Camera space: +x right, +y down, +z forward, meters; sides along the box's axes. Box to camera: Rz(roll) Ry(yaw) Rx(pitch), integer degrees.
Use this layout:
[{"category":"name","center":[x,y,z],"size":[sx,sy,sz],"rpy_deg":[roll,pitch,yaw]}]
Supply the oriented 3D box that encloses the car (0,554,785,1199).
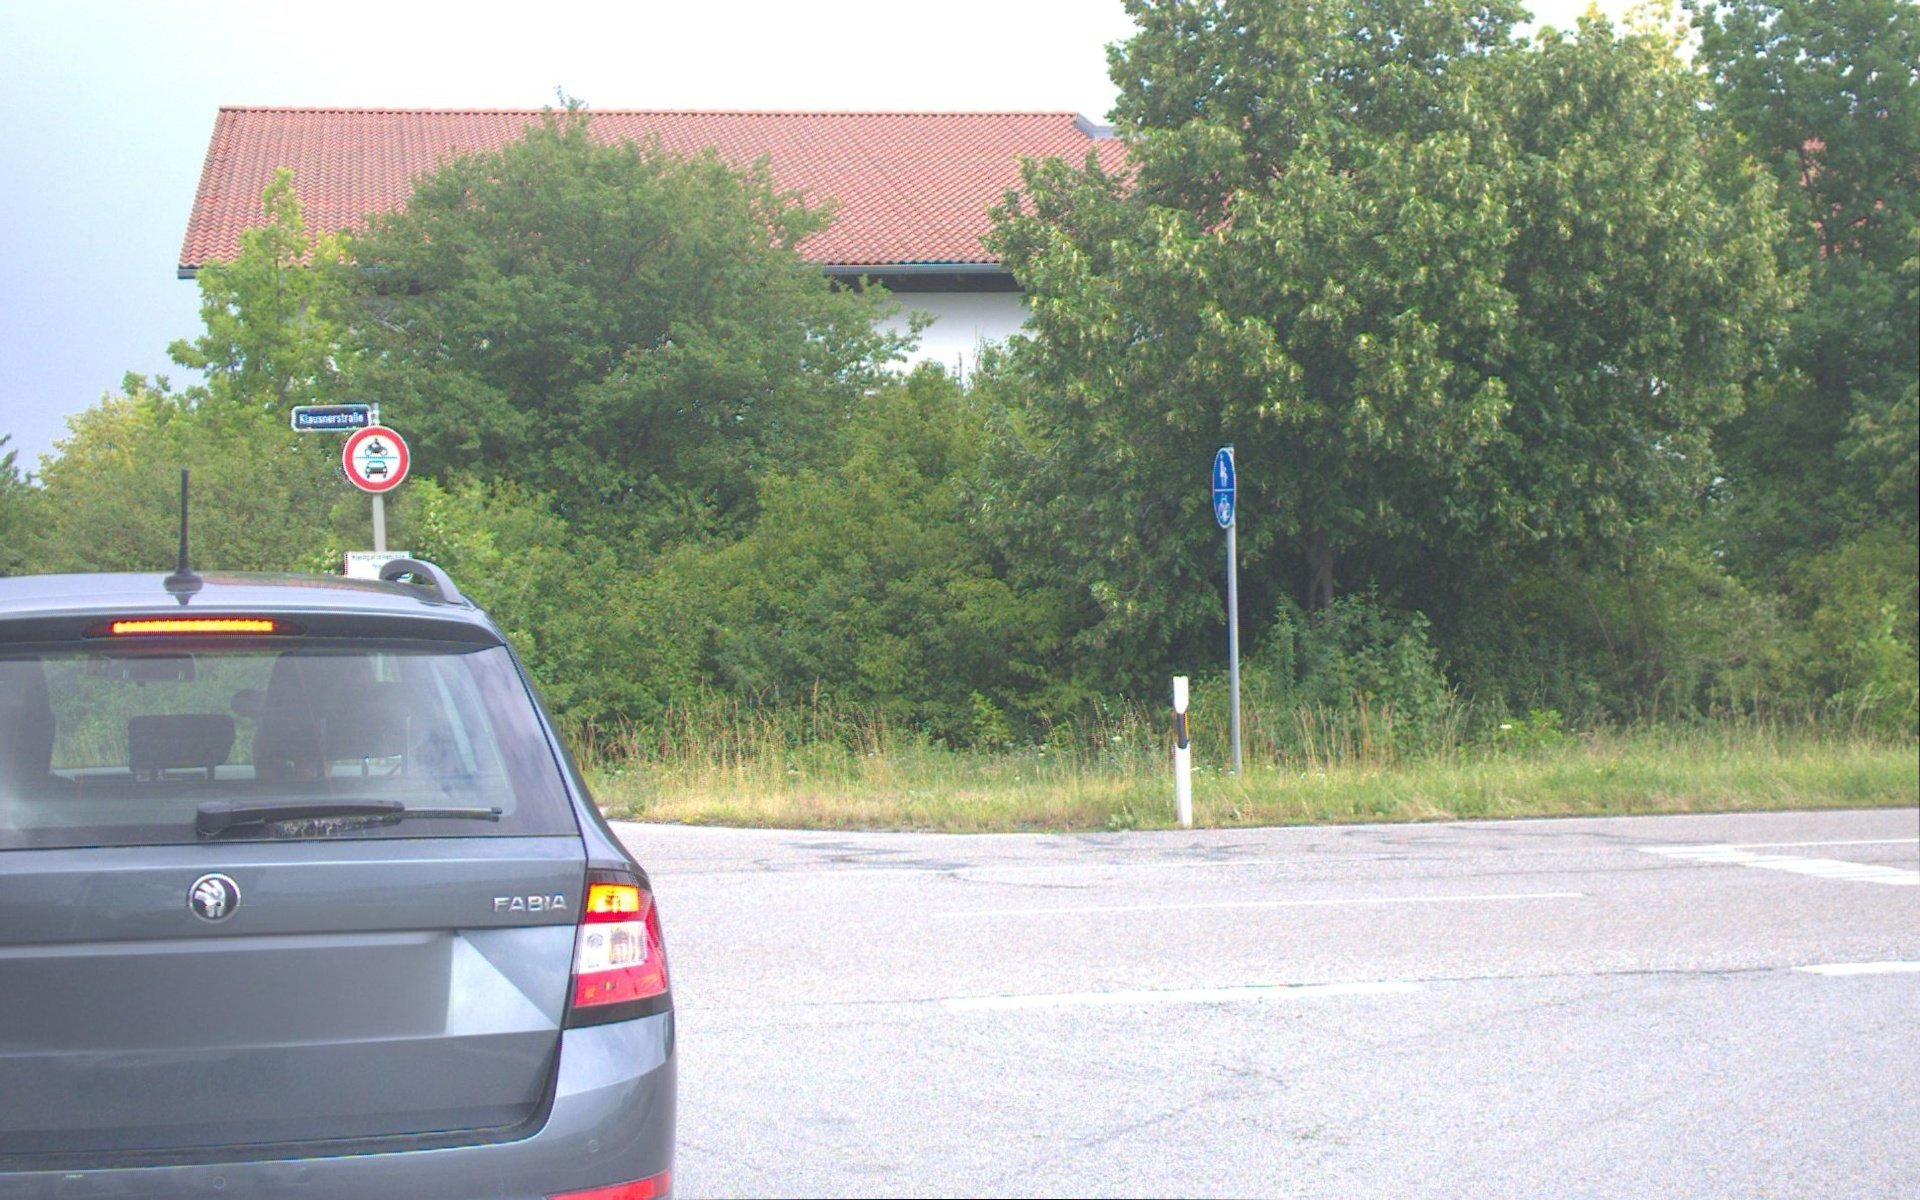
[{"category":"car","center":[-1.620,0.676,6.838],"size":[1.676,1.458,3.708],"rpy_deg":[-1,0,-17]}]
